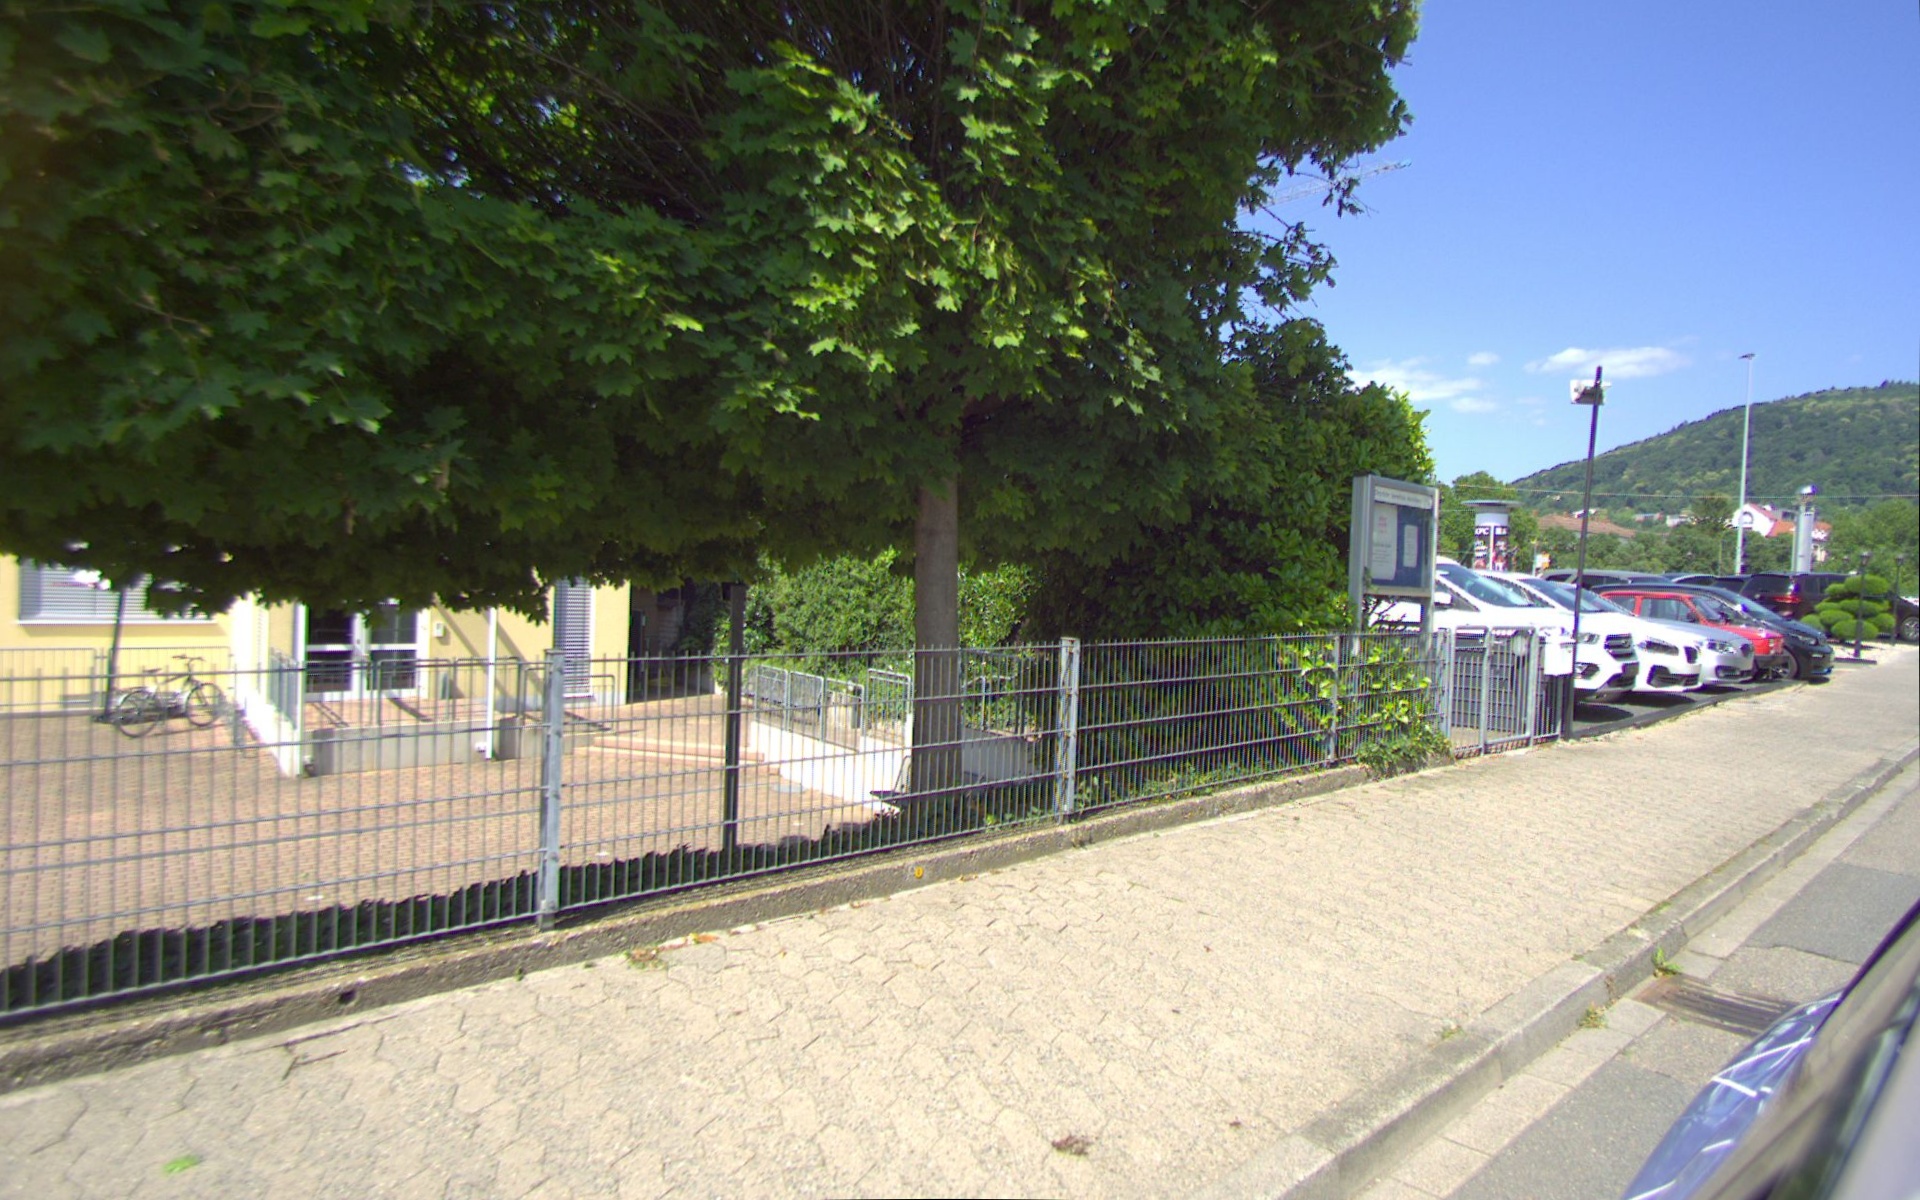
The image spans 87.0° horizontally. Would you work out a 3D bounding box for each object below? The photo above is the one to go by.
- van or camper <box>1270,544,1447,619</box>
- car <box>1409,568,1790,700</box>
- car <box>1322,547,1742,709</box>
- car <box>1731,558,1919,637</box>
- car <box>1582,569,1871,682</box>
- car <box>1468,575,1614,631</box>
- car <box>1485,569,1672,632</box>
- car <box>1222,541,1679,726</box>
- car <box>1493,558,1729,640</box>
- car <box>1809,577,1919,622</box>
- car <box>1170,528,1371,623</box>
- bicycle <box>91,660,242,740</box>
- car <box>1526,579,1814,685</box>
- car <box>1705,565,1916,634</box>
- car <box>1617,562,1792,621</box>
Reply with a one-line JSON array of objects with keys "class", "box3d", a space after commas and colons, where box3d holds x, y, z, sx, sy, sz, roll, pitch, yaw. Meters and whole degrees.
[{"class": "van or camper", "box3d": [13.706, -0.690, 34.873, 5.455, 2.289, 2.092, 3, 2, 28]}, {"class": "car", "box3d": [9.343, 0.386, 15.100, 1.864, 1.515, 4.413, 1, 3, -41]}, {"class": "car", "box3d": [7.371, 0.224, 13.430, 1.865, 1.545, 4.412, 0, 5, -42]}, {"class": "car", "box3d": [22.693, -0.081, 26.071, 4.205, 1.803, 1.856, 2, 3, -4]}, {"class": "car", "box3d": [13.640, 0.367, 18.180, 1.729, 1.643, 3.811, 1, 3, -41]}, {"class": "car", "box3d": [20.463, 0.068, 35.771, 3.927, 1.726, 1.861, 3, 2, 2]}, {"class": "car", "box3d": [17.948, -0.032, 29.567, 4.139, 1.553, 1.921, 3, 2, 9]}, {"class": "car", "box3d": [5.512, 0.231, 11.857, 1.812, 1.673, 4.411, 1, 3, -42]}, {"class": "car", "box3d": [16.509, -0.104, 26.063, 1.884, 1.783, 5.010, 2, 2, -17]}, {"class": "car", "box3d": [35.399, -0.003, 38.724, 1.864, 1.437, 4.166, 0, 5, -42]}, {"class": "car", "box3d": [10.223, -0.875, 33.454, 5.964, 2.711, 2.238, 5, 3, 28]}, {"class": "bicycle", "box3d": [-12.457, 1.539, 15.957, 0.610, 1.005, 1.803, 4, 2, 19]}, {"class": "car", "box3d": [11.488, 0.449, 16.548, 1.532, 1.351, 3.557, 1, 3, -41]}, {"class": "car", "box3d": [25.453, -0.051, 30.386, 4.721, 1.801, 2.020, 2, 2, -5]}, {"class": "car", "box3d": [24.732, -0.297, 33.669, 4.716, 1.713, 2.022, 2, 2, -14]}]
